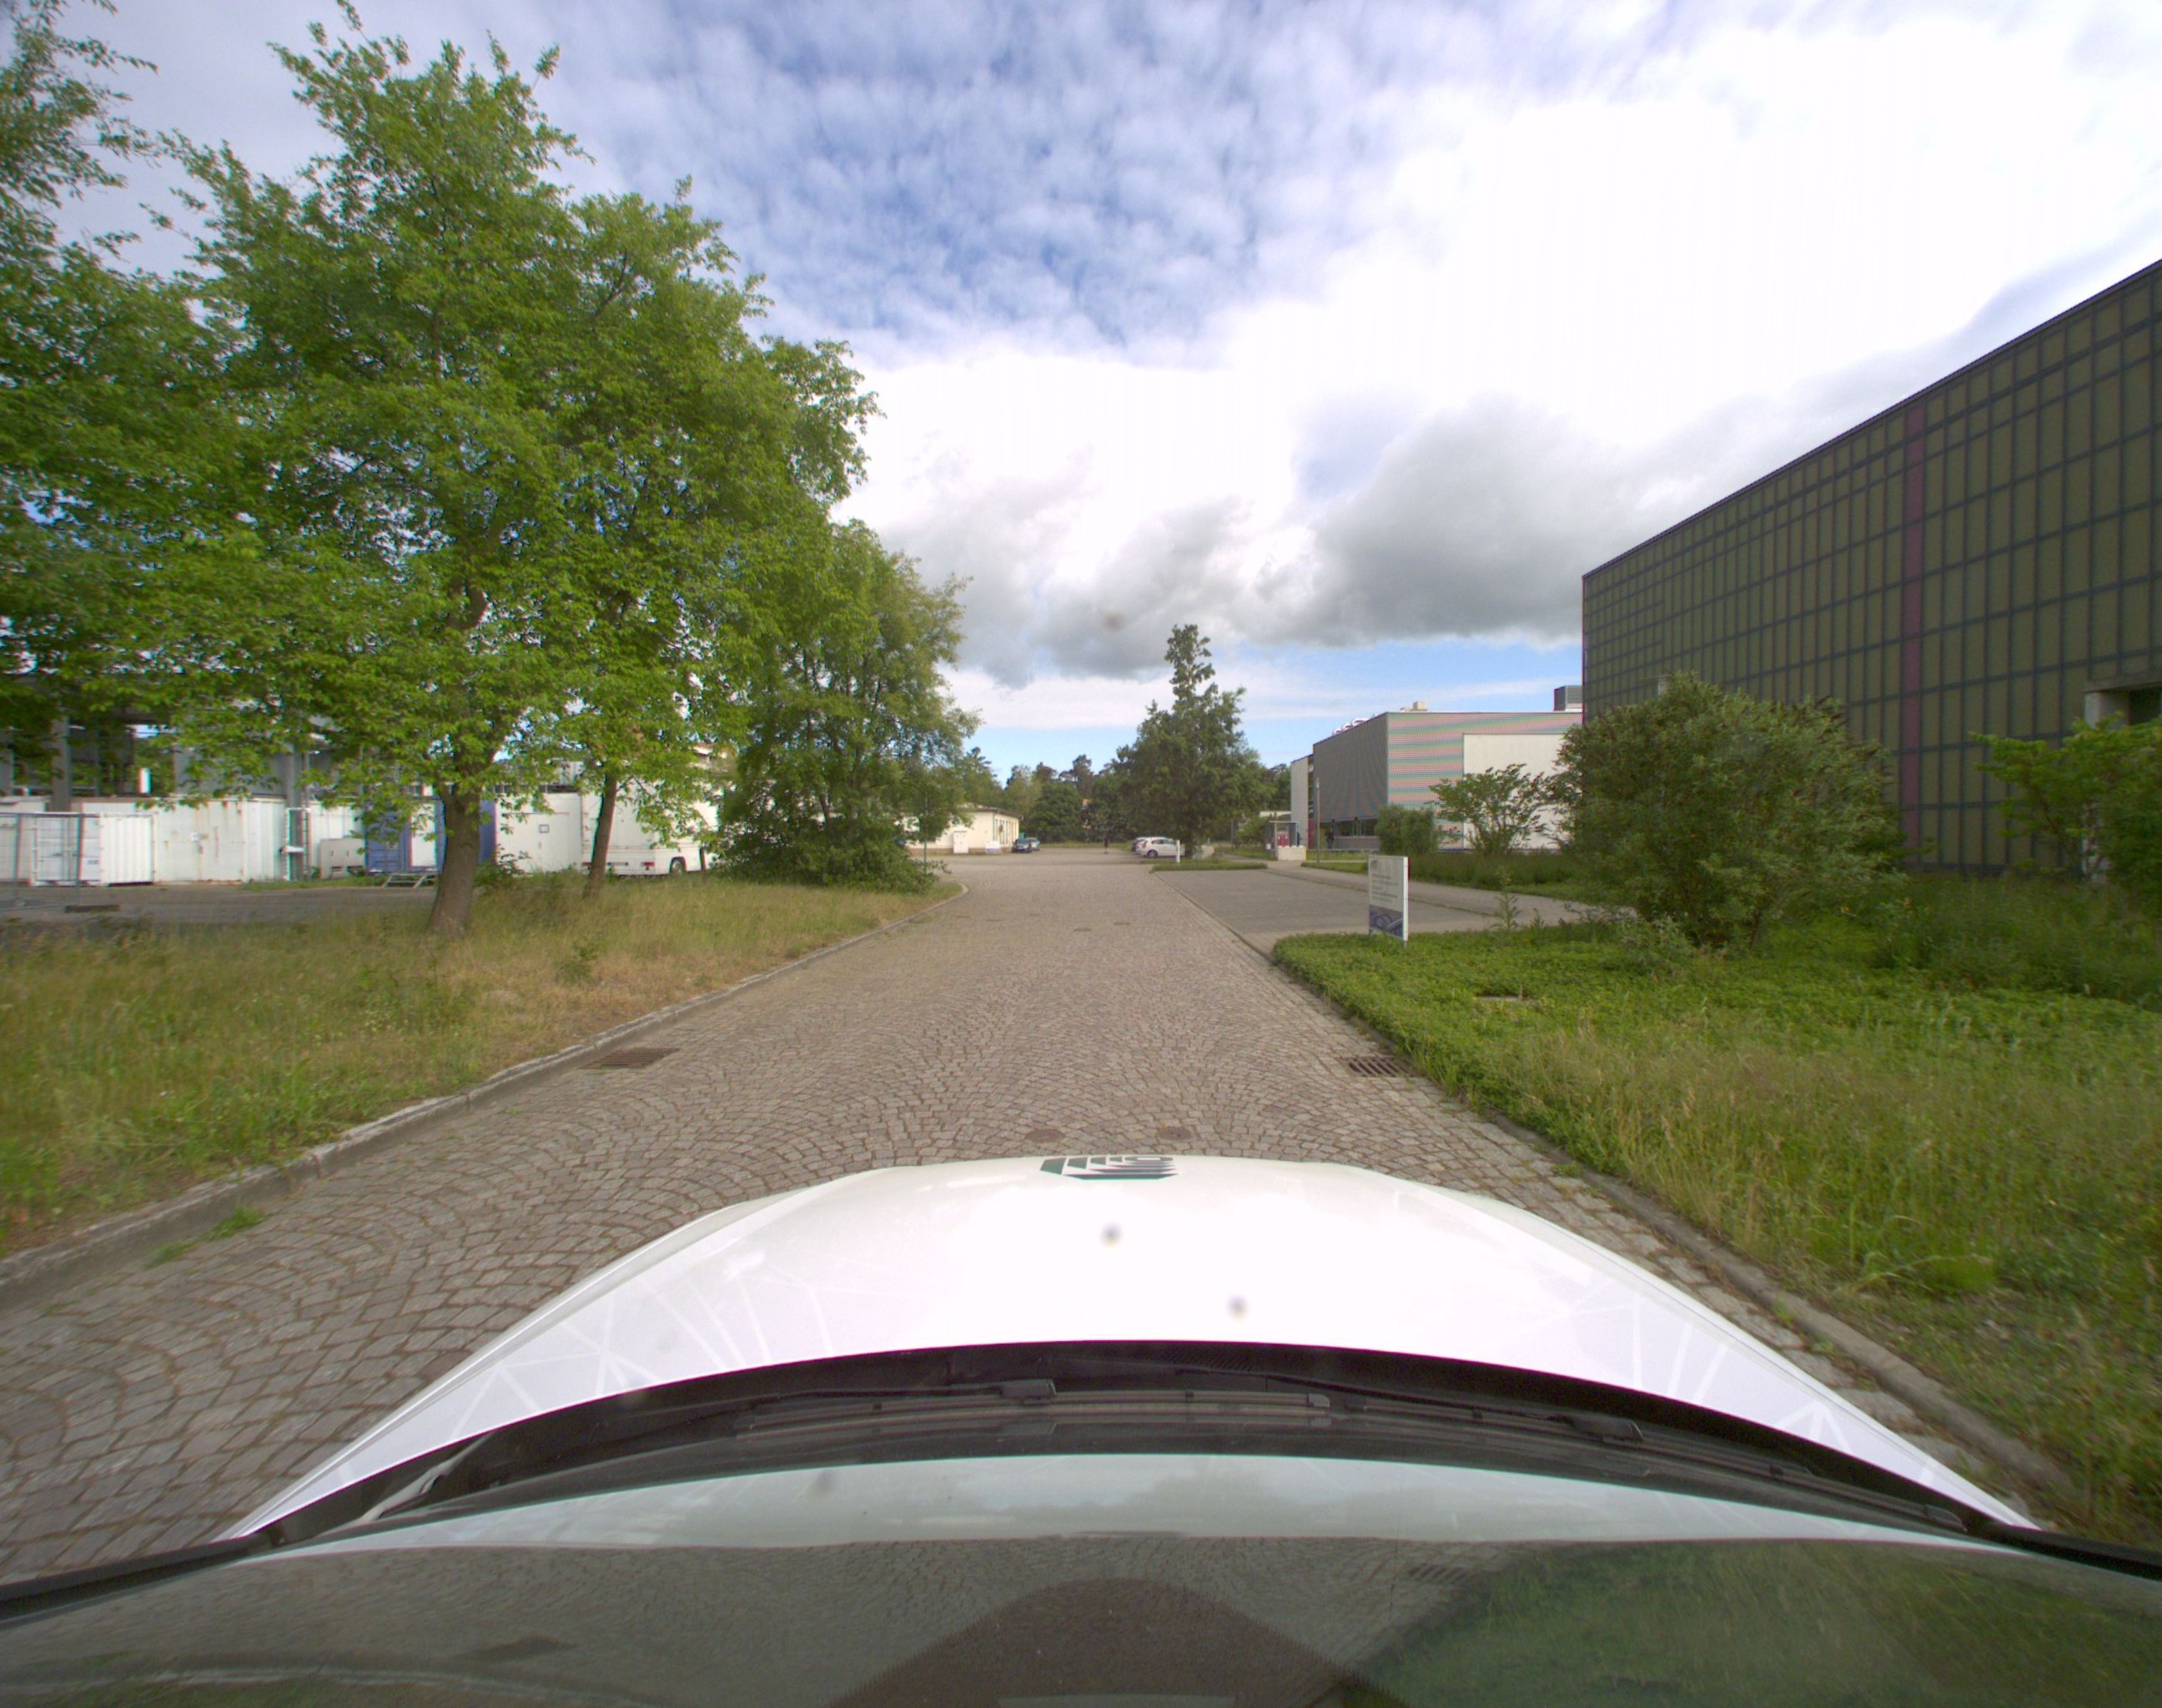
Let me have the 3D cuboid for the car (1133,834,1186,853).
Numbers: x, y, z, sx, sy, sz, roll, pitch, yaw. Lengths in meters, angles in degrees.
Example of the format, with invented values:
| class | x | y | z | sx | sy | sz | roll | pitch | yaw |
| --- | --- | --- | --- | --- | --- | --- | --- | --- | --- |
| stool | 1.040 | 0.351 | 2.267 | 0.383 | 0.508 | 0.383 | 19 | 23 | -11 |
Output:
| class | x | y | z | sx | sy | sz | roll | pitch | yaw |
| --- | --- | --- | --- | --- | --- | --- | --- | --- | --- |
| car | 6.080 | -0.821 | 63.607 | 3.972 | 1.455 | 1.771 | -1 | 1 | 1 |

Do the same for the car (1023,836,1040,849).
| class | x | y | z | sx | sy | sz | roll | pitch | yaw |
| --- | --- | --- | --- | --- | --- | --- | --- | --- | --- |
| car | -5.612 | -1.337 | 92.743 | 1.744 | 1.454 | 3.999 | -1 | 1 | -1 |

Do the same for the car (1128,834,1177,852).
| class | x | y | z | sx | sy | sz | roll | pitch | yaw |
| --- | --- | --- | --- | --- | --- | --- | --- | --- | --- |
| car | 6.013 | -0.940 | 68.513 | 3.972 | 1.455 | 1.771 | -1 | 1 | 1 |

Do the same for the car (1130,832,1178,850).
| class | x | y | z | sx | sy | sz | roll | pitch | yaw |
| --- | --- | --- | --- | --- | --- | --- | --- | --- | --- |
| car | 6.410 | -1.162 | 71.721 | 3.977 | 1.533 | 1.998 | -1 | 1 | -3 |

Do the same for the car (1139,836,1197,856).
| class | x | y | z | sx | sy | sz | roll | pitch | yaw |
| --- | --- | --- | --- | --- | --- | --- | --- | --- | --- |
| car | 6.198 | -0.584 | 58.396 | 3.972 | 1.455 | 2.001 | 0 | 0 | 1 |

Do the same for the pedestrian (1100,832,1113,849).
| class | x | y | z | sx | sy | sz | roll | pitch | yaw |
| --- | --- | --- | --- | --- | --- | --- | --- | --- | --- |
| pedestrian | 2.414 | -1.262 | 77.448 | 0.943 | 1.568 | 0.964 | -1 | 1 | -22 |

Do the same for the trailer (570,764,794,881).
| class | x | y | z | sx | sy | sz | roll | pitch | yaw |
| --- | --- | --- | --- | --- | --- | --- | --- | --- | --- |
| trailer | -14.633 | -1.118 | 31.349 | 2.645 | 3.705 | 10.733 | -1 | 1 | 4 |

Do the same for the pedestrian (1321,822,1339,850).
| class | x | y | z | sx | sy | sz | roll | pitch | yaw |
| --- | --- | --- | --- | --- | --- | --- | --- | --- | --- |
| pedestrian | 17.928 | -1.294 | 58.600 | 0.922 | 1.936 | 0.847 | -1 | 1 | -29 |

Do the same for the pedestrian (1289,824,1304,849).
| class | x | y | z | sx | sy | sz | roll | pitch | yaw |
| --- | --- | --- | --- | --- | --- | --- | --- | --- | --- |
| pedestrian | 17.688 | -1.426 | 66.883 | 0.919 | 2.013 | 1.145 | -1 | 1 | -5 |

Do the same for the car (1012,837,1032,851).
| class | x | y | z | sx | sy | sz | roll | pitch | yaw |
| --- | --- | --- | --- | --- | --- | --- | --- | --- | --- |
| car | -5.963 | -1.049 | 82.515 | 1.744 | 1.363 | 3.999 | -1 | 1 | -1 |

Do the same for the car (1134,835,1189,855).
| class | x | y | z | sx | sy | sz | roll | pitch | yaw |
| --- | --- | --- | --- | --- | --- | --- | --- | --- | --- |
| car | 5.954 | -0.666 | 60.569 | 3.972 | 1.455 | 1.698 | -1 | 1 | 1 |
